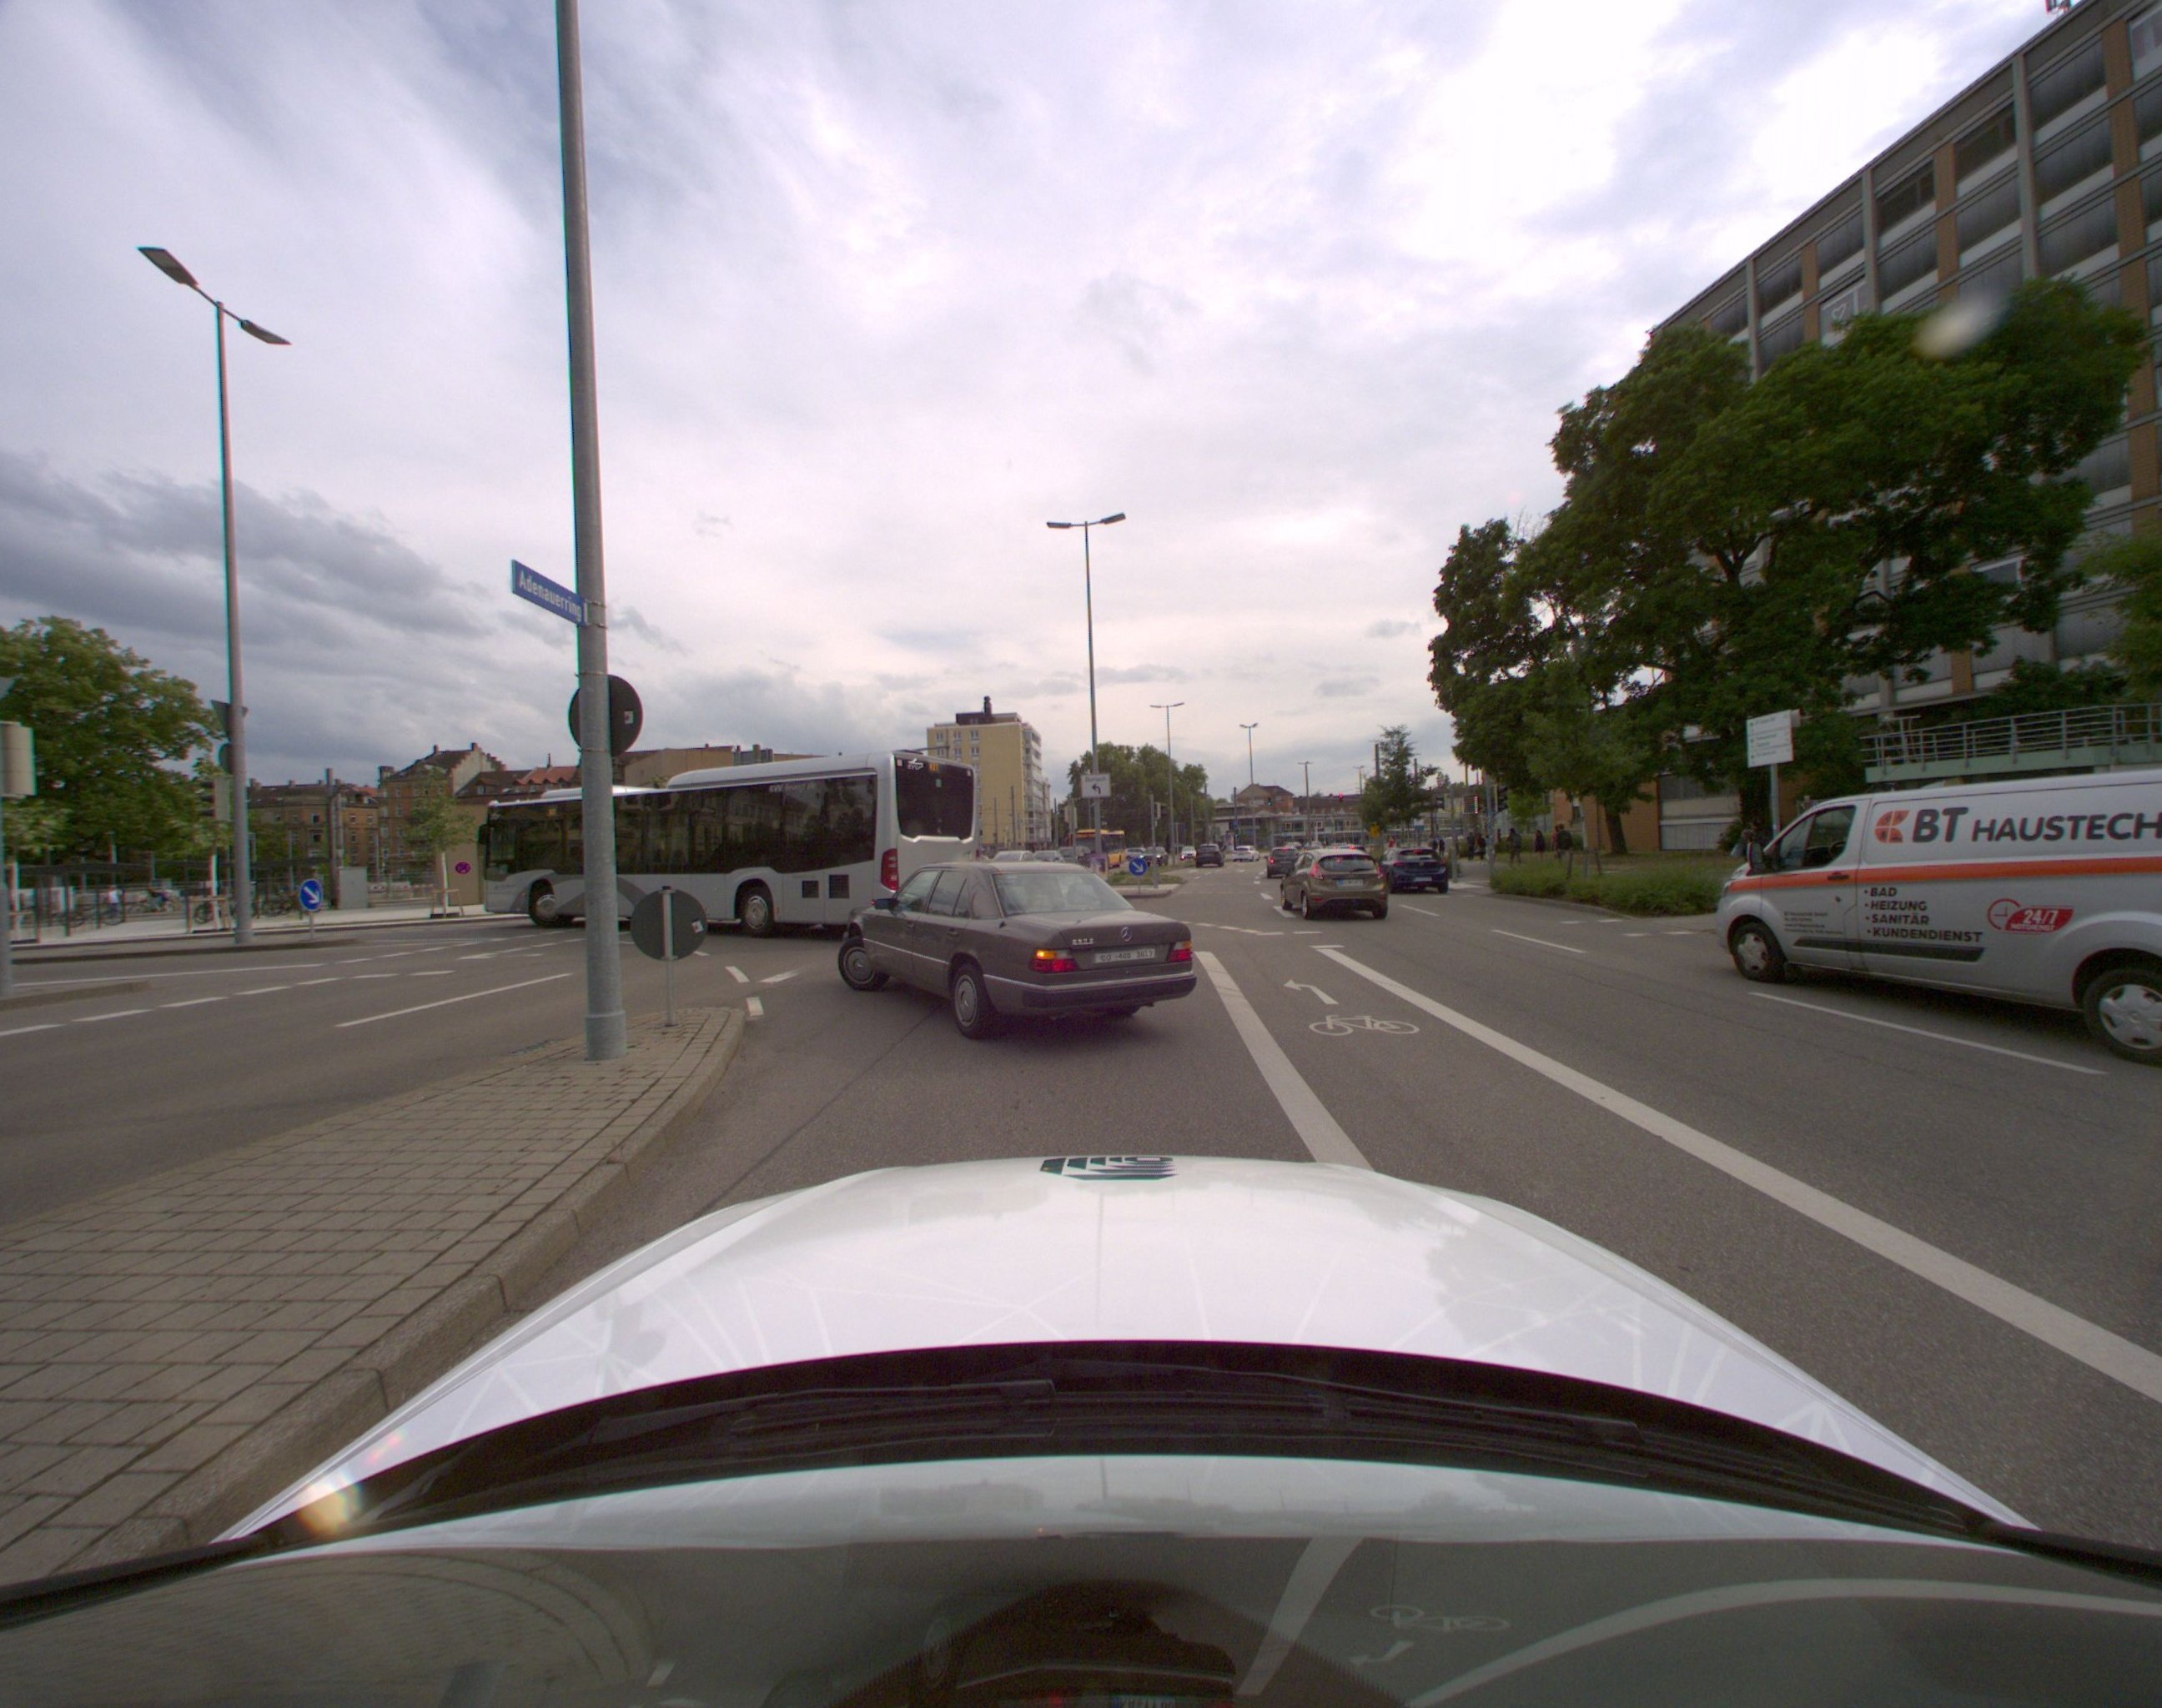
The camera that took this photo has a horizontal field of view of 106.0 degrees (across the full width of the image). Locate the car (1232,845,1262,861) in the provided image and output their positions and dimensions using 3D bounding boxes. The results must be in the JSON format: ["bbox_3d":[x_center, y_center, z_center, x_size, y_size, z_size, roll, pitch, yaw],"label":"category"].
[{"bbox_3d":[14.975,-0.090,73.333,1.695,1.420,4.024,-1,0,26],"label":"car"}]

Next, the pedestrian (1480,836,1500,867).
[{"bbox_3d":[21.433,-0.135,42.707,0.771,1.574,0.817,-4,0,23],"label":"pedestrian"}]

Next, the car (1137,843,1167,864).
[{"bbox_3d":[6.065,-0.043,69.095,1.981,1.651,4.526,-1,0,11],"label":"car"}]

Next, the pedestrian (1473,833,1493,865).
[{"bbox_3d":[20.568,-0.244,41.704,0.771,1.574,0.817,-4,0,23],"label":"pedestrian"}]

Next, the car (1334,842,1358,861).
[{"bbox_3d":[21.022,-0.184,64.625,1.690,1.420,3.717,-1,0,17],"label":"car"}]

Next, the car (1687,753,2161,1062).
[{"bbox_3d":[7.856,0.336,6.868,1.812,1.959,5.208,-1,0,3],"label":"car"}]

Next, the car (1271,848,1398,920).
[{"bbox_3d":[5.392,0.595,17.807,1.689,1.404,3.700,-1,0,1],"label":"car"}]

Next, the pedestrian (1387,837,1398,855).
[{"bbox_3d":[29.322,-0.768,76.648,0.771,1.574,0.817,-4,0,23],"label":"pedestrian"}]

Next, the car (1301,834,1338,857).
[{"bbox_3d":[15.073,-0.512,51.430,2.116,1.420,3.717,-1,0,17],"label":"car"}]

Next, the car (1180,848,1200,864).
[{"bbox_3d":[12.284,0.221,91.791,1.981,1.651,4.526,-1,0,11],"label":"car"}]

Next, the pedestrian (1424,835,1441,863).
[{"bbox_3d":[20.145,-0.296,46.657,0.771,1.574,0.817,-4,0,23],"label":"pedestrian"}]

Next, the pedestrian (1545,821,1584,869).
[{"bbox_3d":[17.362,-0.311,29.264,0.775,1.711,1.028,-1,0,0],"label":"pedestrian"}]

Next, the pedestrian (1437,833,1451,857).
[{"bbox_3d":[25.714,-0.641,57.715,0.771,1.574,0.817,-4,0,23],"label":"pedestrian"}]

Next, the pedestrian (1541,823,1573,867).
[{"bbox_3d":[18.986,-0.354,32.494,0.775,1.711,0.812,-1,0,0],"label":"pedestrian"}]

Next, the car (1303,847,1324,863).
[{"bbox_3d":[20.953,0.066,73.244,1.697,1.420,4.018,-1,0,17],"label":"car"}]

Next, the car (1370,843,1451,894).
[{"bbox_3d":[10.285,0.435,25.688,1.656,1.508,3.645,-1,0,10],"label":"car"}]

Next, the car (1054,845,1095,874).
[{"bbox_3d":[-0.392,0.372,54.999,1.981,1.898,4.303,-1,0,11],"label":"car"}]

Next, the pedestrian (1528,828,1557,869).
[{"bbox_3d":[19.521,-0.230,34.446,0.775,1.711,0.812,-1,0,0],"label":"pedestrian"}]

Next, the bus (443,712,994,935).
[{"bbox_3d":[-8.513,-0.192,17.458,14.002,3.438,2.730,-4,0,29],"label":"bus"}]

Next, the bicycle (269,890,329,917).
[{"bbox_3d":[-36.465,2.300,37.981,0.576,1.156,1.979,-1,0,40],"label":"bicycle"}]

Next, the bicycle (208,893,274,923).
[{"bbox_3d":[-36.908,2.358,35.793,0.576,1.156,1.979,-1,0,40],"label":"bicycle"}]

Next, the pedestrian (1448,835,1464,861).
[{"bbox_3d":[23.475,-0.383,50.947,0.771,1.574,0.817,-4,0,23],"label":"pedestrian"}]

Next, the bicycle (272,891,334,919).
[{"bbox_3d":[-35.376,2.287,37.042,0.576,1.156,1.979,-1,0,40],"label":"bicycle"}]

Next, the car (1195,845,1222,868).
[{"bbox_3d":[9.310,0.152,59.297,1.822,1.615,3.557,-1,0,11],"label":"car"}]

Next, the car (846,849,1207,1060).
[{"bbox_3d":[-0.849,0.719,8.042,1.707,1.480,4.371,0,0,-32],"label":"car"}]

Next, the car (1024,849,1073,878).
[{"bbox_3d":[-1.902,0.559,48.965,1.981,1.651,4.303,-1,0,11],"label":"car"}]

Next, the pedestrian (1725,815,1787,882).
[{"bbox_3d":[16.737,-0.135,20.215,0.775,1.574,0.812,-4,0,0],"label":"pedestrian"}]

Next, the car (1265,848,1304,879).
[{"bbox_3d":[9.828,0.441,39.258,1.698,1.420,4.016,-1,0,15],"label":"car"}]

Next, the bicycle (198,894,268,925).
[{"bbox_3d":[-35.090,2.274,33.726,0.576,1.156,1.979,-1,0,40],"label":"bicycle"}]

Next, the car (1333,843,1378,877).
[{"bbox_3d":[12.911,0.265,38.505,1.843,1.533,4.019,-1,0,16],"label":"car"}]

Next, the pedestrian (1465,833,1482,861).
[{"bbox_3d":[23.380,-0.412,48.474,0.771,1.574,0.817,-4,0,23],"label":"pedestrian"}]

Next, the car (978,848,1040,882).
[{"bbox_3d":[-3.587,0.552,41.503,1.981,1.651,4.303,-1,0,11],"label":"car"}]

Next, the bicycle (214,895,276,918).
[{"bbox_3d":[-38.505,2.411,37.525,1.978,0.970,0.577,0,0,-44],"label":"bicycle"}]

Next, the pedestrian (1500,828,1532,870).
[{"bbox_3d":[18.142,-0.210,34.010,0.775,1.711,1.028,-1,0,0],"label":"pedestrian"}]

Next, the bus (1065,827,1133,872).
[{"bbox_3d":[1.675,-0.323,66.009,3.126,3.255,12.455,-1,0,12],"label":"bus"}]

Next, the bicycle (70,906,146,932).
[{"bbox_3d":[-40.554,2.707,33.986,1.978,0.955,0.577,0,0,-44],"label":"bicycle"}]

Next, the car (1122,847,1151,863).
[{"bbox_3d":[7.359,0.134,108.454,2.007,2.014,3.959,0,0,-32],"label":"car"}]
